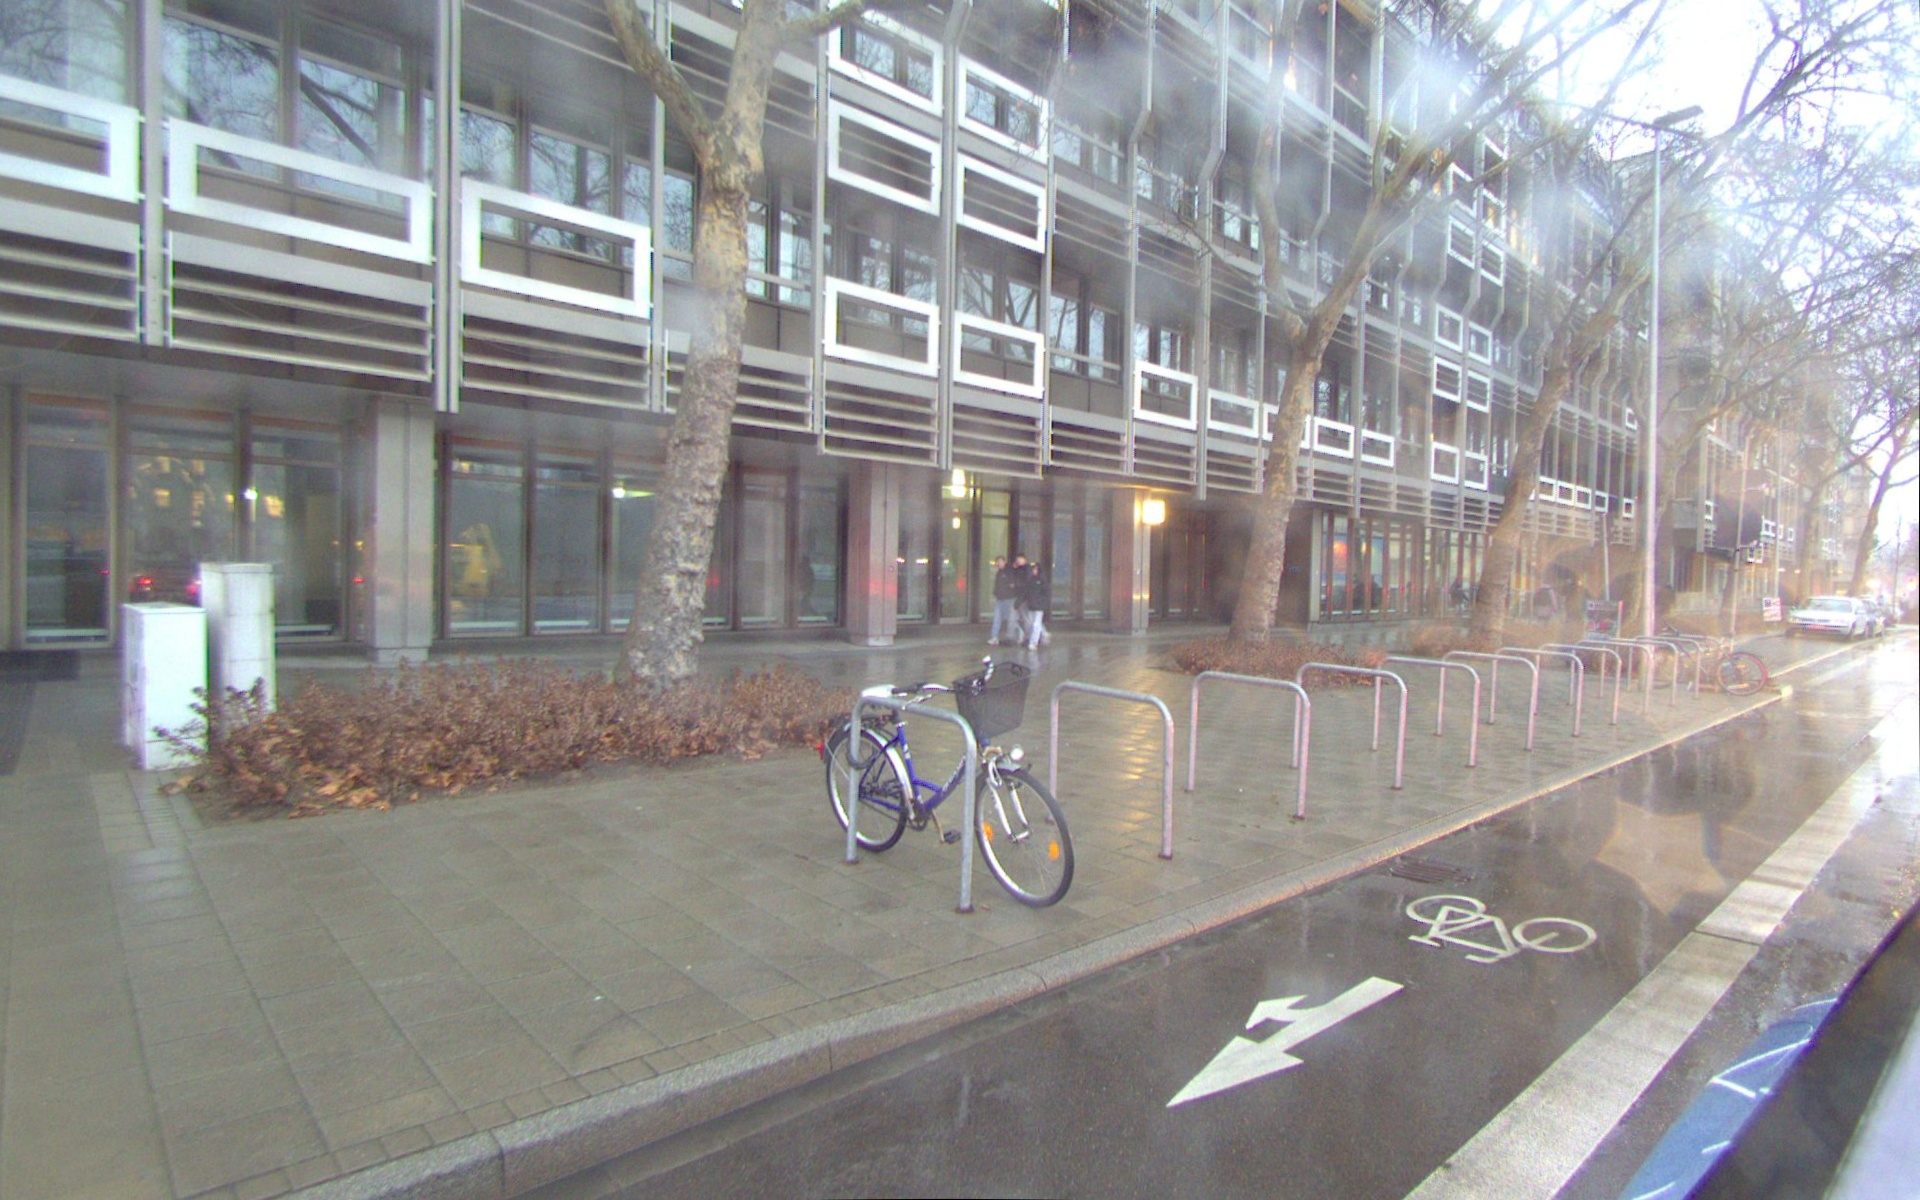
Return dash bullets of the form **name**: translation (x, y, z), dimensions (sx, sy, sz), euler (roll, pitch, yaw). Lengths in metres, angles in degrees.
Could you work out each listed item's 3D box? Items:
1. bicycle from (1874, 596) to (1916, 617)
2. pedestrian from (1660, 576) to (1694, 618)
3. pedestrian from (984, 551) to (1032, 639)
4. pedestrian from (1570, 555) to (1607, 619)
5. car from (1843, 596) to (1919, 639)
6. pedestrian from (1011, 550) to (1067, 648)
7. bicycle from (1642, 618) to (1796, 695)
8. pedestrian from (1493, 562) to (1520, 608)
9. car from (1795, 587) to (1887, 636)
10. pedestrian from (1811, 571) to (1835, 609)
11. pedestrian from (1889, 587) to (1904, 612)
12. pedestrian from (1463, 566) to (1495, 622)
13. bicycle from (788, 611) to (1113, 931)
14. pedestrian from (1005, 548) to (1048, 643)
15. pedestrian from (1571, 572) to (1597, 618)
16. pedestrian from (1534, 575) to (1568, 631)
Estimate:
- **bicycle**: translation (46.997, 0.318, 50.870), dimensions (1.518, 1.049, 0.462), euler (0, 1, 42)
- **pedestrian**: translation (26.875, -0.112, 37.919), dimensions (0.824, 1.543, 0.865), euler (0, 2, -44)
- **pedestrian**: translation (0.888, -0.102, 18.677), dimensions (0.733, 1.583, 0.484), euler (0, 1, -42)
- **pedestrian**: translation (20.395, -0.437, 32.854), dimensions (0.723, 2.039, 0.821), euler (0, 1, -43)
- **car**: translation (35.505, 0.628, 38.776), dimensions (3.930, 1.504, 1.997), euler (-1, 1, -41)
- **pedestrian**: translation (1.394, -0.028, 17.829), dimensions (0.858, 1.689, 0.501), euler (0, 2, -41)
- **bicycle**: translation (11.643, 0.841, 15.569), dimensions (0.607, 0.986, 1.789), euler (0, 3, -45)
- **pedestrian**: translation (16.602, -0.448, 30.739), dimensions (0.492, 1.386, 0.495), euler (1, 1, -15)
- **car**: translation (29.418, 0.330, 33.753), dimensions (3.859, 1.449, 1.609), euler (0, 4, -39)
- **pedestrian**: translation (46.830, -0.560, 54.905), dimensions (1.007, 2.039, 0.790), euler (0, 1, -41)
- **pedestrian**: translation (75.918, -0.055, 82.019), dimensions (0.758, 2.039, 0.837), euler (-1, 0, -42)
- **pedestrian**: translation (15.970, -0.195, 31.140), dimensions (0.767, 1.677, 0.617), euler (0, 1, -41)
- **bicycle**: translation (-0.124, 0.697, 4.842), dimensions (0.428, 1.162, 1.752), euler (0, 4, -44)
- **pedestrian**: translation (1.204, -0.084, 18.273), dimensions (0.701, 1.689, 0.379), euler (0, 1, -41)
- **pedestrian**: translation (22.961, -0.201, 37.253), dimensions (0.639, 1.675, 0.829), euler (2, 1, 43)
- **pedestrian**: translation (16.970, 0.075, 29.070), dimensions (0.604, 1.563, 0.649), euler (0, 1, -40)
